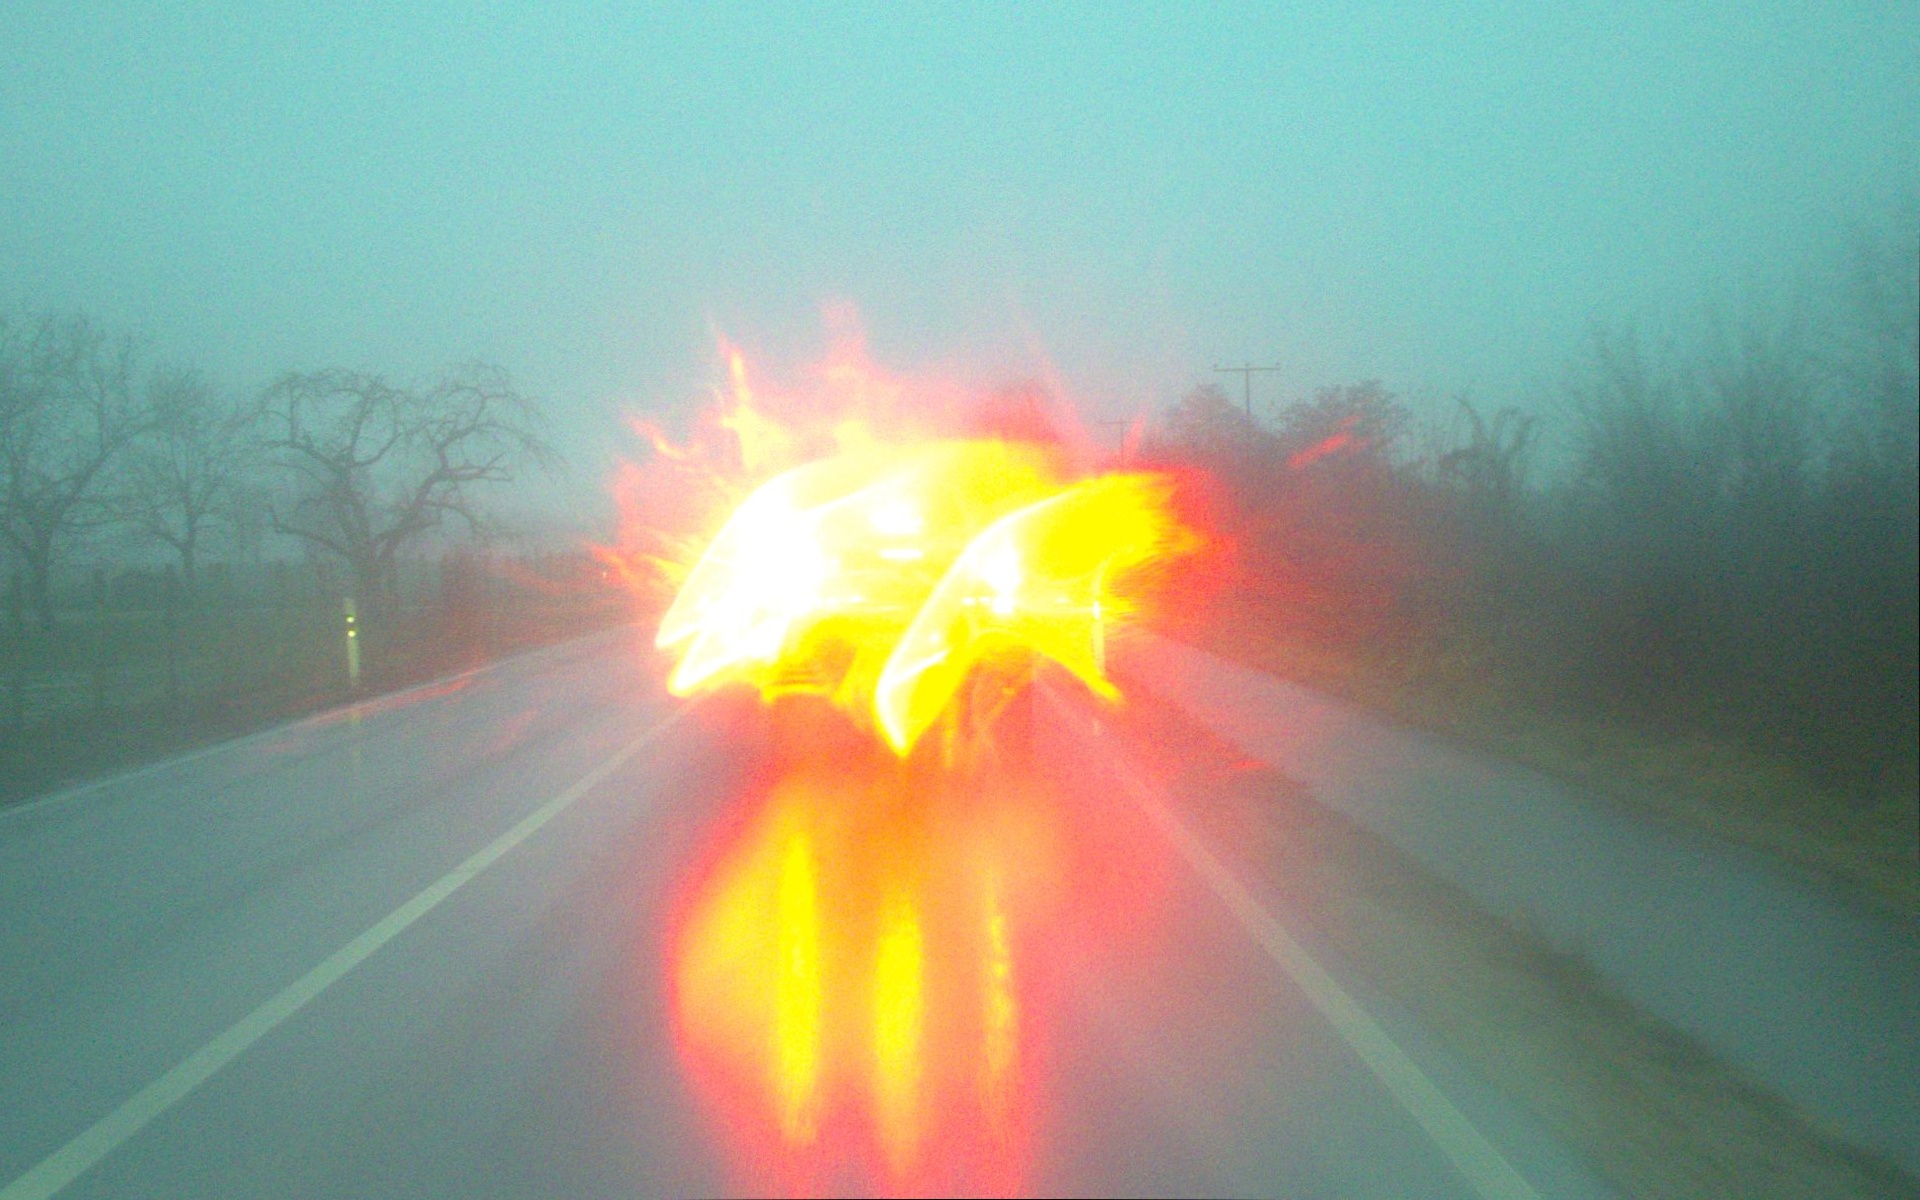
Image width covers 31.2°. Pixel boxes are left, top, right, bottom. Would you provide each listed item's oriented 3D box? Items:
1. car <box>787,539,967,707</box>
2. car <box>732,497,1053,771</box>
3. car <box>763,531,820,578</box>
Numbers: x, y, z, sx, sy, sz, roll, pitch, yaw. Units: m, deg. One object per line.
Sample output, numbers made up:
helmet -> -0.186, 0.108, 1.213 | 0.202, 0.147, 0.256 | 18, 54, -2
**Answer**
car -> -0.946, 0.233, 40.377 | 1.993, 1.843, 4.000 | 1, 1, -1
car -> -0.475, 0.179, 25.262 | 2.120, 1.813, 4.980 | 0, 1, -1
car -> -5.785, -1.577, 117.650 | 1.855, 1.512, 4.517 | -2, 1, -3
